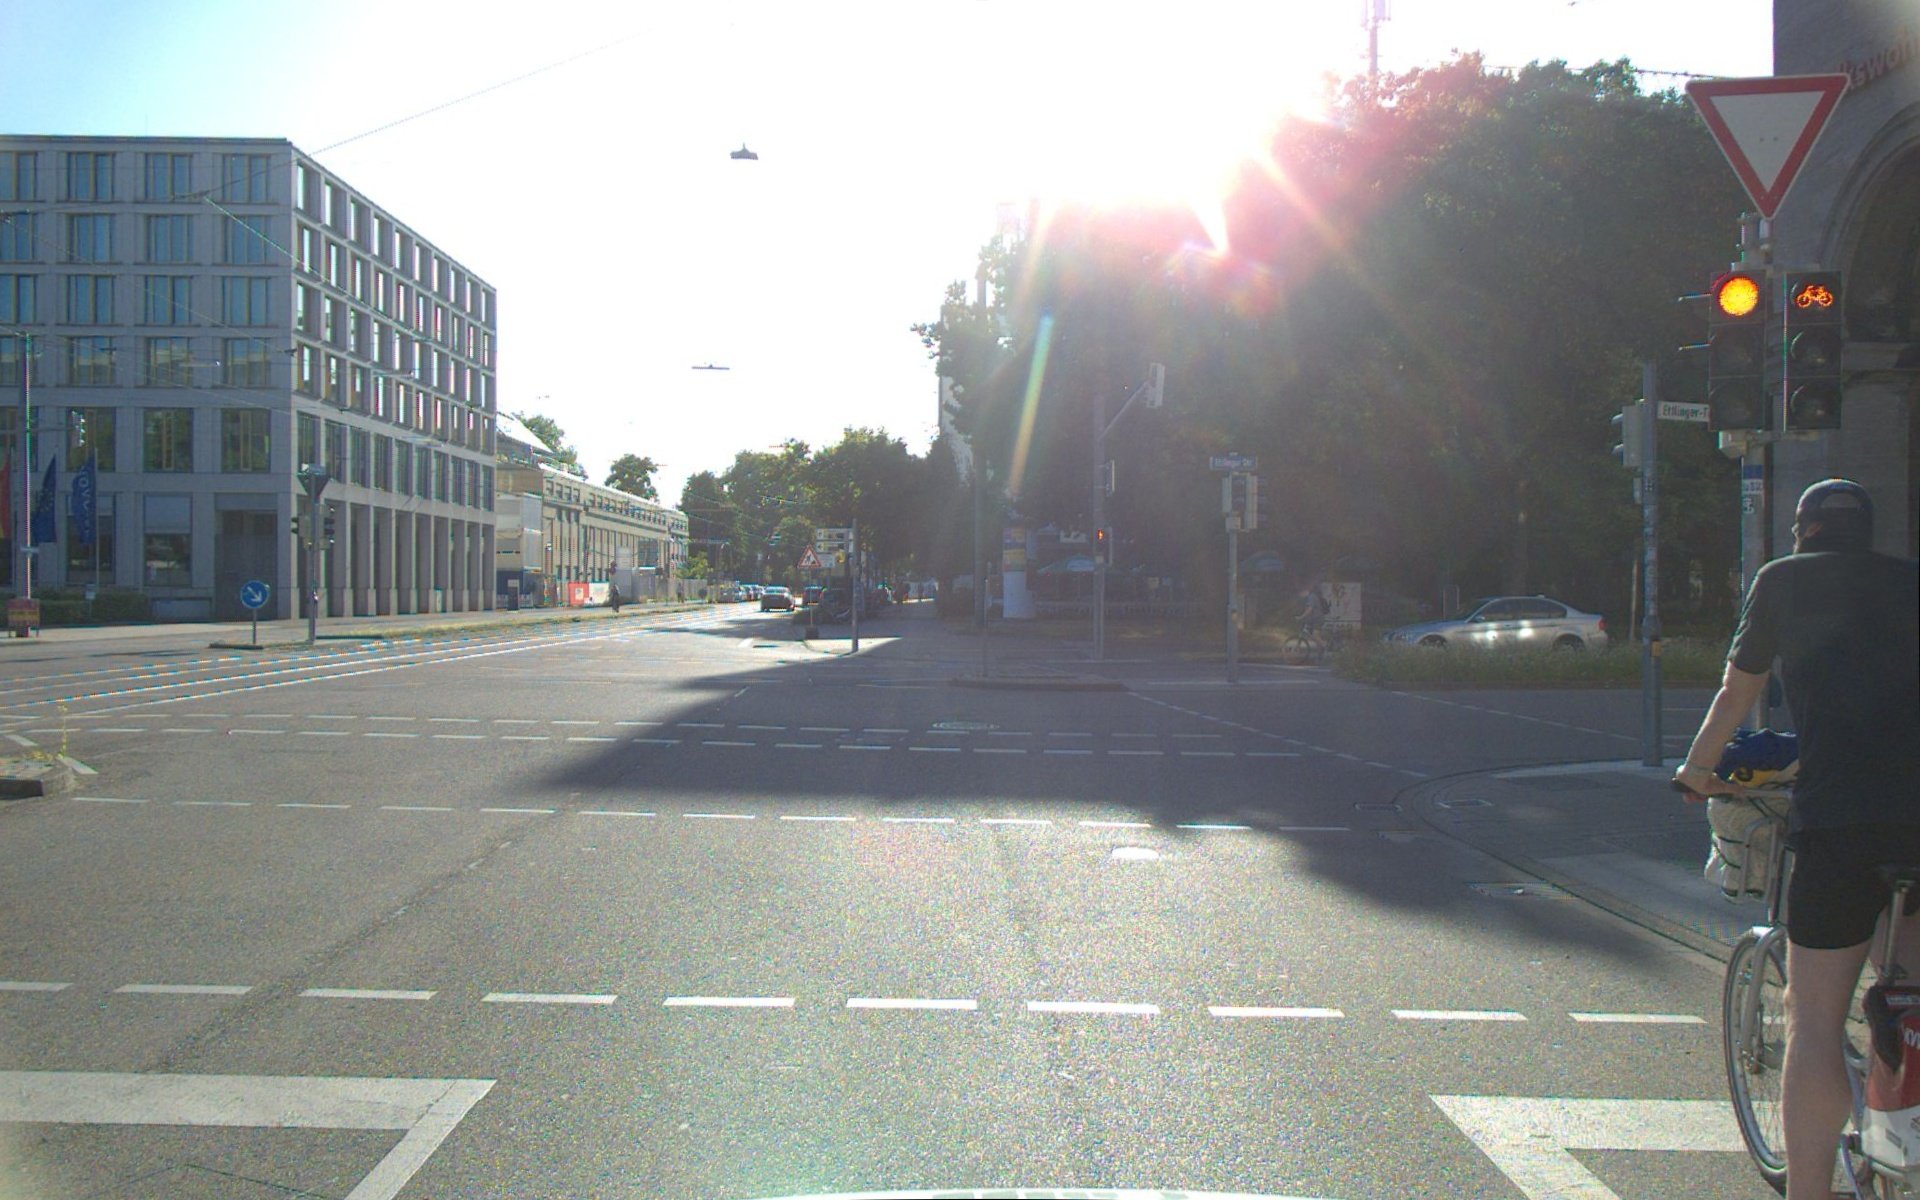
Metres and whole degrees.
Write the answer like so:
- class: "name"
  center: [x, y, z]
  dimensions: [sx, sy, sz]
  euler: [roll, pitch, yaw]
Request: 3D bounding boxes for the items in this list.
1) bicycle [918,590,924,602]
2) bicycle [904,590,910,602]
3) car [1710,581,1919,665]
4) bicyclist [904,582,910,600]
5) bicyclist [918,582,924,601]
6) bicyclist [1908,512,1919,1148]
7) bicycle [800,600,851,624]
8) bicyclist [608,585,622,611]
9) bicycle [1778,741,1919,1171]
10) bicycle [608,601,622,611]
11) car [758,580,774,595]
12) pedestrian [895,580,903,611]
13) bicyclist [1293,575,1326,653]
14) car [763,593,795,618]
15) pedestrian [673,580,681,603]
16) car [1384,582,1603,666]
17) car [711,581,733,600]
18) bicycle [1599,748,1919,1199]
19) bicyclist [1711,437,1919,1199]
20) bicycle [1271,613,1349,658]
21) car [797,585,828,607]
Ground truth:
- class: "bicycle"
  center: [-3.618, -0.350, 153.150]
  dimensions: [0.563, 1.096, 1.830]
  euler: [0, 0, -1]
- class: "bicycle"
  center: [-4.890, -0.373, 153.042]
  dimensions: [0.563, 1.096, 1.830]
  euler: [0, 0, -1]
- class: "car"
  center: [17.537, 0.446, 33.702]
  dimensions: [3.770, 1.639, 1.650]
  euler: [0, 0, -1]
- class: "bicyclist"
  center: [-4.893, -0.843, 153.017]
  dimensions: [0.558, 1.721, 0.699]
  euler: [0, 0, -1]
- class: "bicyclist"
  center: [-3.611, -0.769, 153.185]
  dimensions: [0.558, 1.721, 0.699]
  euler: [0, 0, -1]
- class: "bicyclist"
  center: [2.890, 0.627, 4.225]
  dimensions: [0.546, 1.721, 0.640]
  euler: [1, 0, -2]
- class: "bicycle"
  center: [-5.482, 0.507, 67.378]
  dimensions: [1.976, 0.907, 0.650]
  euler: [-2, -1, 27]
- class: "bicyclist"
  center: [-18.936, -0.122, 90.802]
  dimensions: [0.584, 1.401, 0.637]
  euler: [1, -1, -2]
- class: "bicycle"
  center: [2.866, 0.999, 4.332]
  dimensions: [0.523, 1.096, 1.750]
  euler: [1, 0, -2]
- class: "bicycle"
  center: [-18.936, 0.323, 90.761]
  dimensions: [0.491, 0.524, 1.257]
  euler: [1, 0, -1]
- class: "car"
  center: [-22.825, -1.433, 194.356]
  dimensions: [1.659, 1.748, 4.244]
  euler: [1, 0, -4]
- class: "pedestrian"
  center: [-3.606, -0.279, 97.602]
  dimensions: [0.454, 1.845, 0.502]
  euler: [0, 0, -5]
- class: "bicyclist"
  center: [7.717, 0.309, 36.531]
  dimensions: [0.630, 1.712, 0.507]
  euler: [0, 0, 5]
- class: "car"
  center: [-10.987, 0.299, 100.610]
  dimensions: [1.627, 1.481, 4.429]
  euler: [1, 0, -3]
- class: "pedestrian"
  center: [-25.429, -0.776, 148.578]
  dimensions: [0.660, 2.049, 0.751]
  euler: [1, -1, -3]
- class: "car"
  center: [10.777, 0.475, 33.557]
  dimensions: [3.912, 1.639, 1.650]
  euler: [0, 0, -1]
- class: "car"
  center: [-22.467, -0.896, 156.107]
  dimensions: [1.659, 1.748, 4.244]
  euler: [1, 0, -4]
- class: "bicycle"
  center: [2.078, 0.980, 3.885]
  dimensions: [0.505, 1.096, 1.728]
  euler: [1, 0, 1]
- class: "bicyclist"
  center: [2.097, 0.578, 3.726]
  dimensions: [0.547, 1.830, 0.550]
  euler: [1, 0, 1]
- class: "bicycle"
  center: [7.716, 0.782, 36.527]
  dimensions: [1.631, 0.980, 0.534]
  euler: [0, 0, 5]
- class: "car"
  center: [-11.838, -0.349, 132.928]
  dimensions: [1.853, 1.592, 4.808]
  euler: [3, 1, 1]
